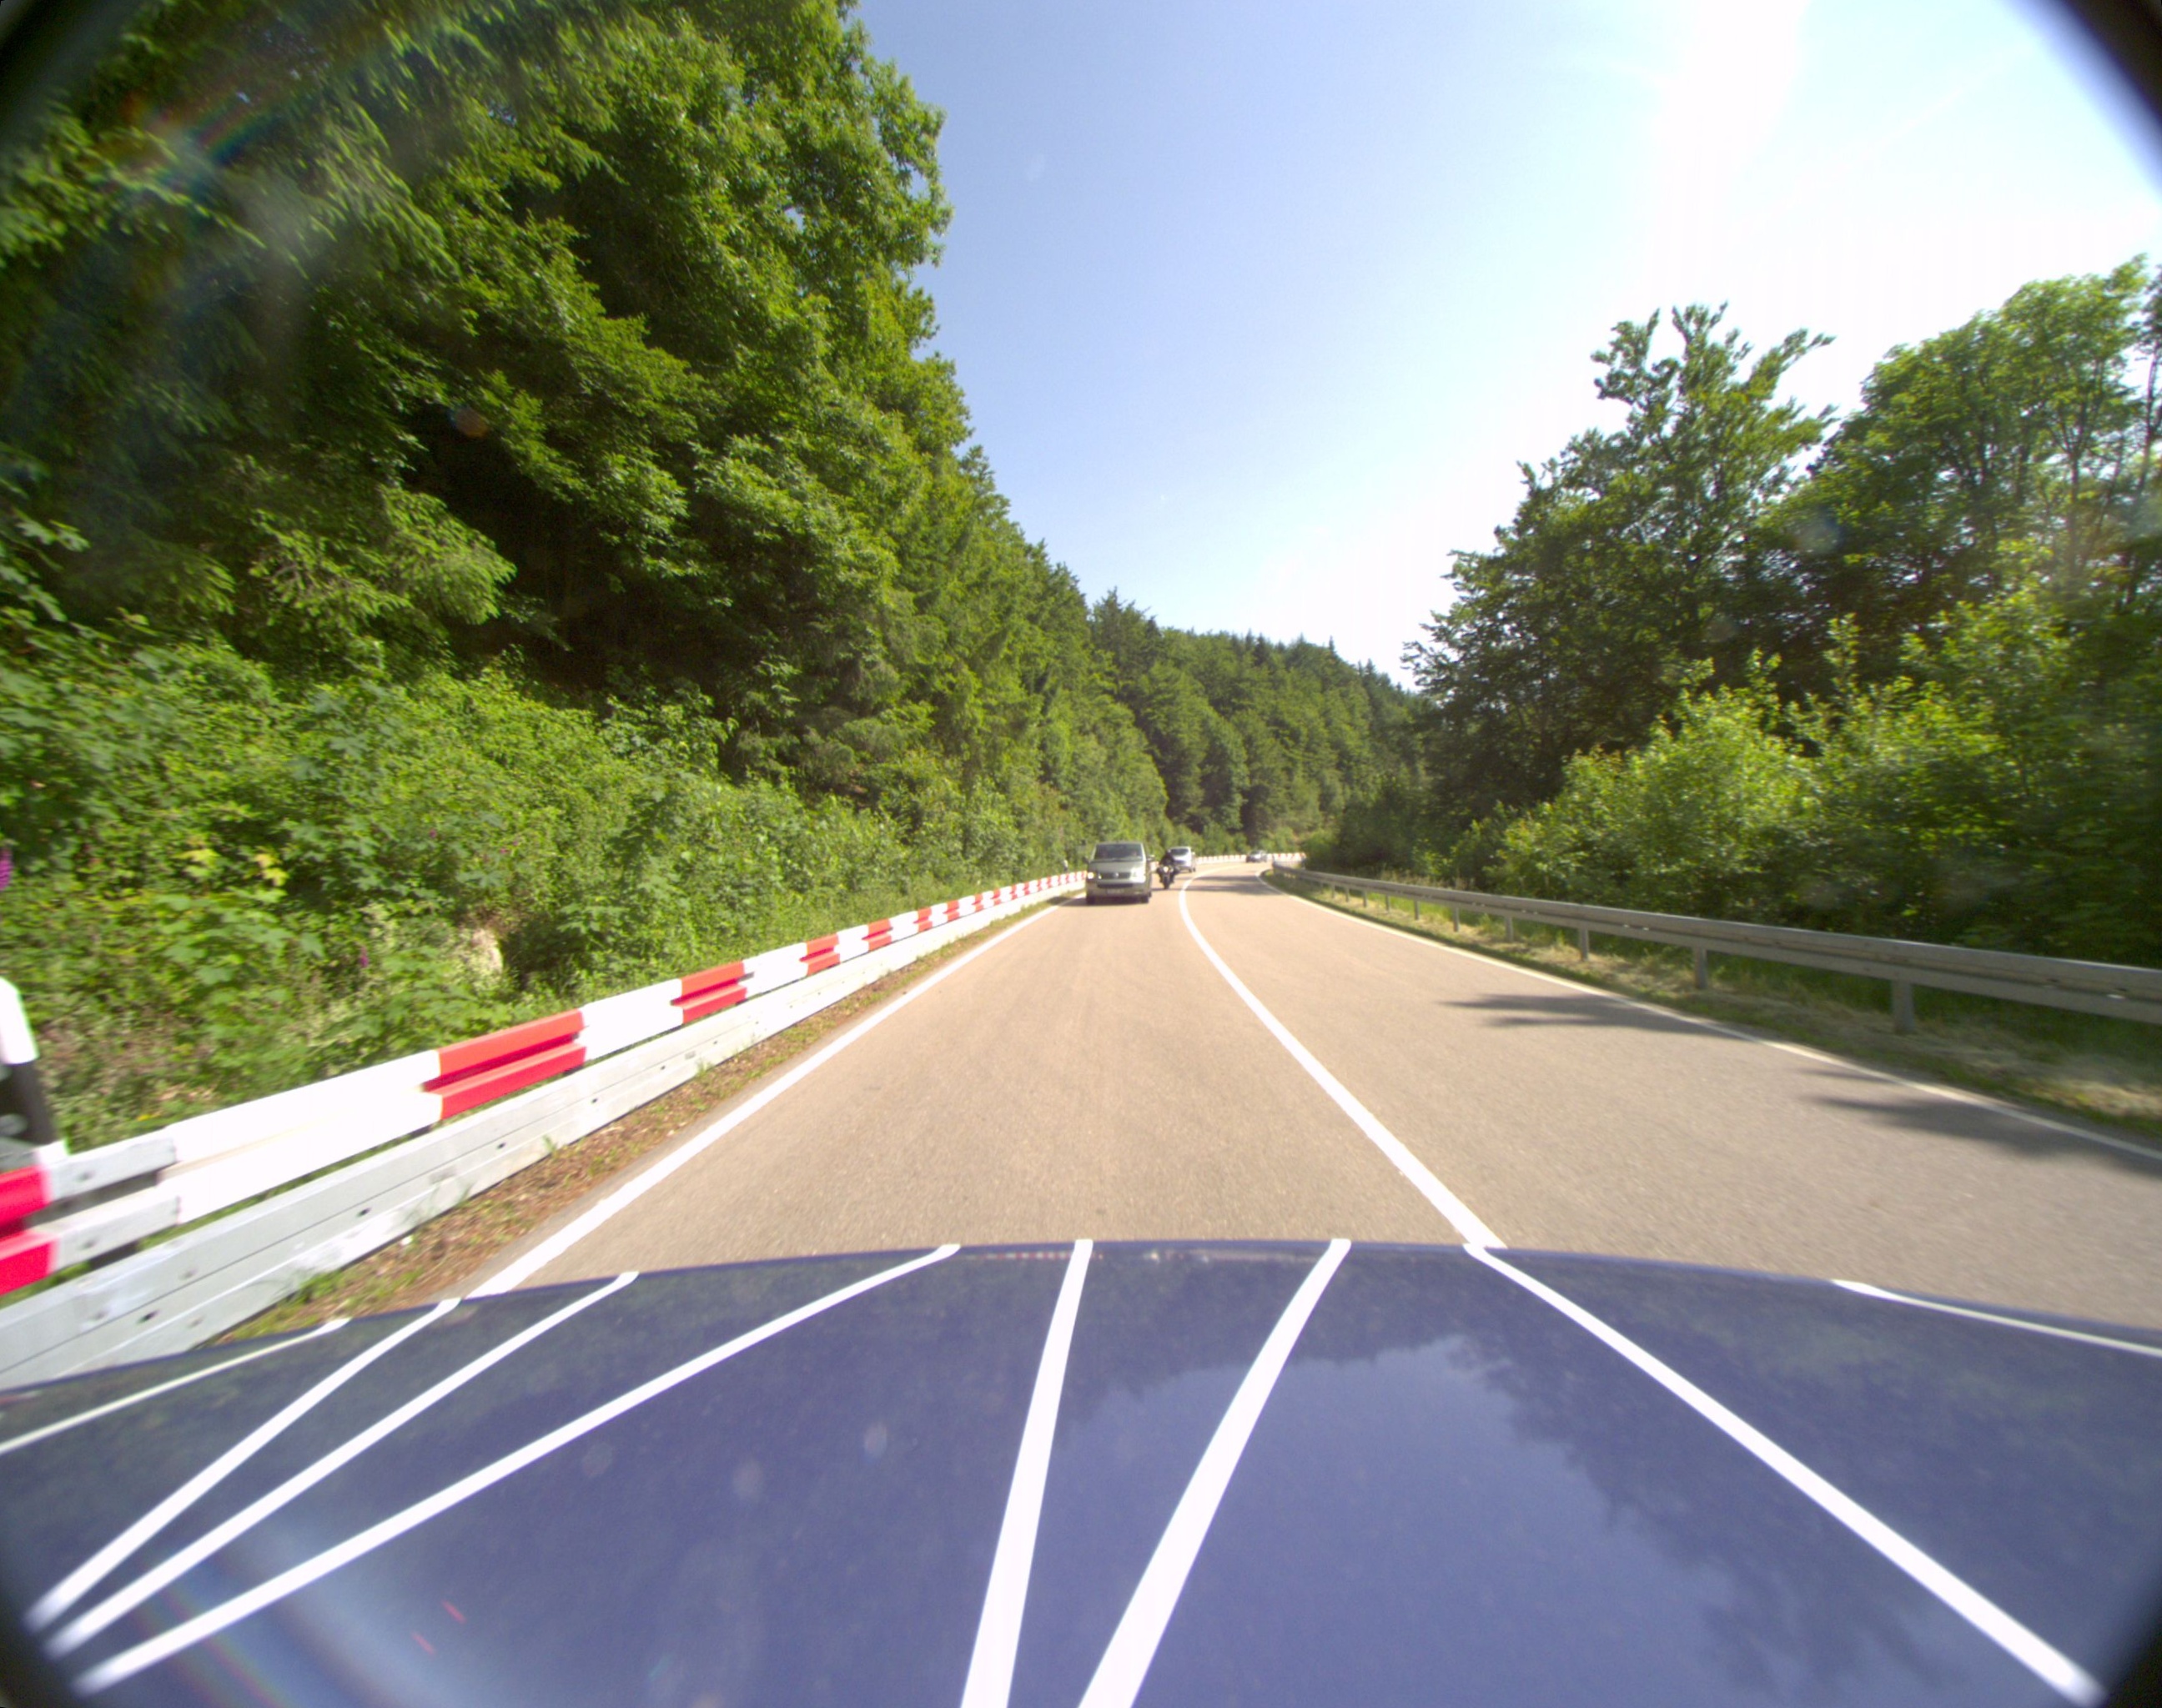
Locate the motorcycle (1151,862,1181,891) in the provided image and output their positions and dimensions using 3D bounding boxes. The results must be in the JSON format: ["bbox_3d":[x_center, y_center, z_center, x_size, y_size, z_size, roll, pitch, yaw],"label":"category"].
[{"bbox_3d":[3.488,0.906,31.082,1.109,1.117,1.962,-1,0,9],"label":"motorcycle"}]

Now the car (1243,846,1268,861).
[{"bbox_3d":[20.579,-0.118,89.472,1.995,1.633,4.006,-3,0,24],"label":"car"}]

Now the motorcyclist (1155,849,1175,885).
[{"bbox_3d":[3.436,0.523,31.046,0.716,1.422,0.999,-4,0,6],"label":"motorcyclist"}]

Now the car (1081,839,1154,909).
[{"bbox_3d":[1.263,0.578,24.405,2.028,1.940,4.901,-2,0,5],"label":"car"}]

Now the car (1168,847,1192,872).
[{"bbox_3d":[7.243,0.363,55.508,1.652,1.749,3.796,-1,1,7],"label":"car"}]
